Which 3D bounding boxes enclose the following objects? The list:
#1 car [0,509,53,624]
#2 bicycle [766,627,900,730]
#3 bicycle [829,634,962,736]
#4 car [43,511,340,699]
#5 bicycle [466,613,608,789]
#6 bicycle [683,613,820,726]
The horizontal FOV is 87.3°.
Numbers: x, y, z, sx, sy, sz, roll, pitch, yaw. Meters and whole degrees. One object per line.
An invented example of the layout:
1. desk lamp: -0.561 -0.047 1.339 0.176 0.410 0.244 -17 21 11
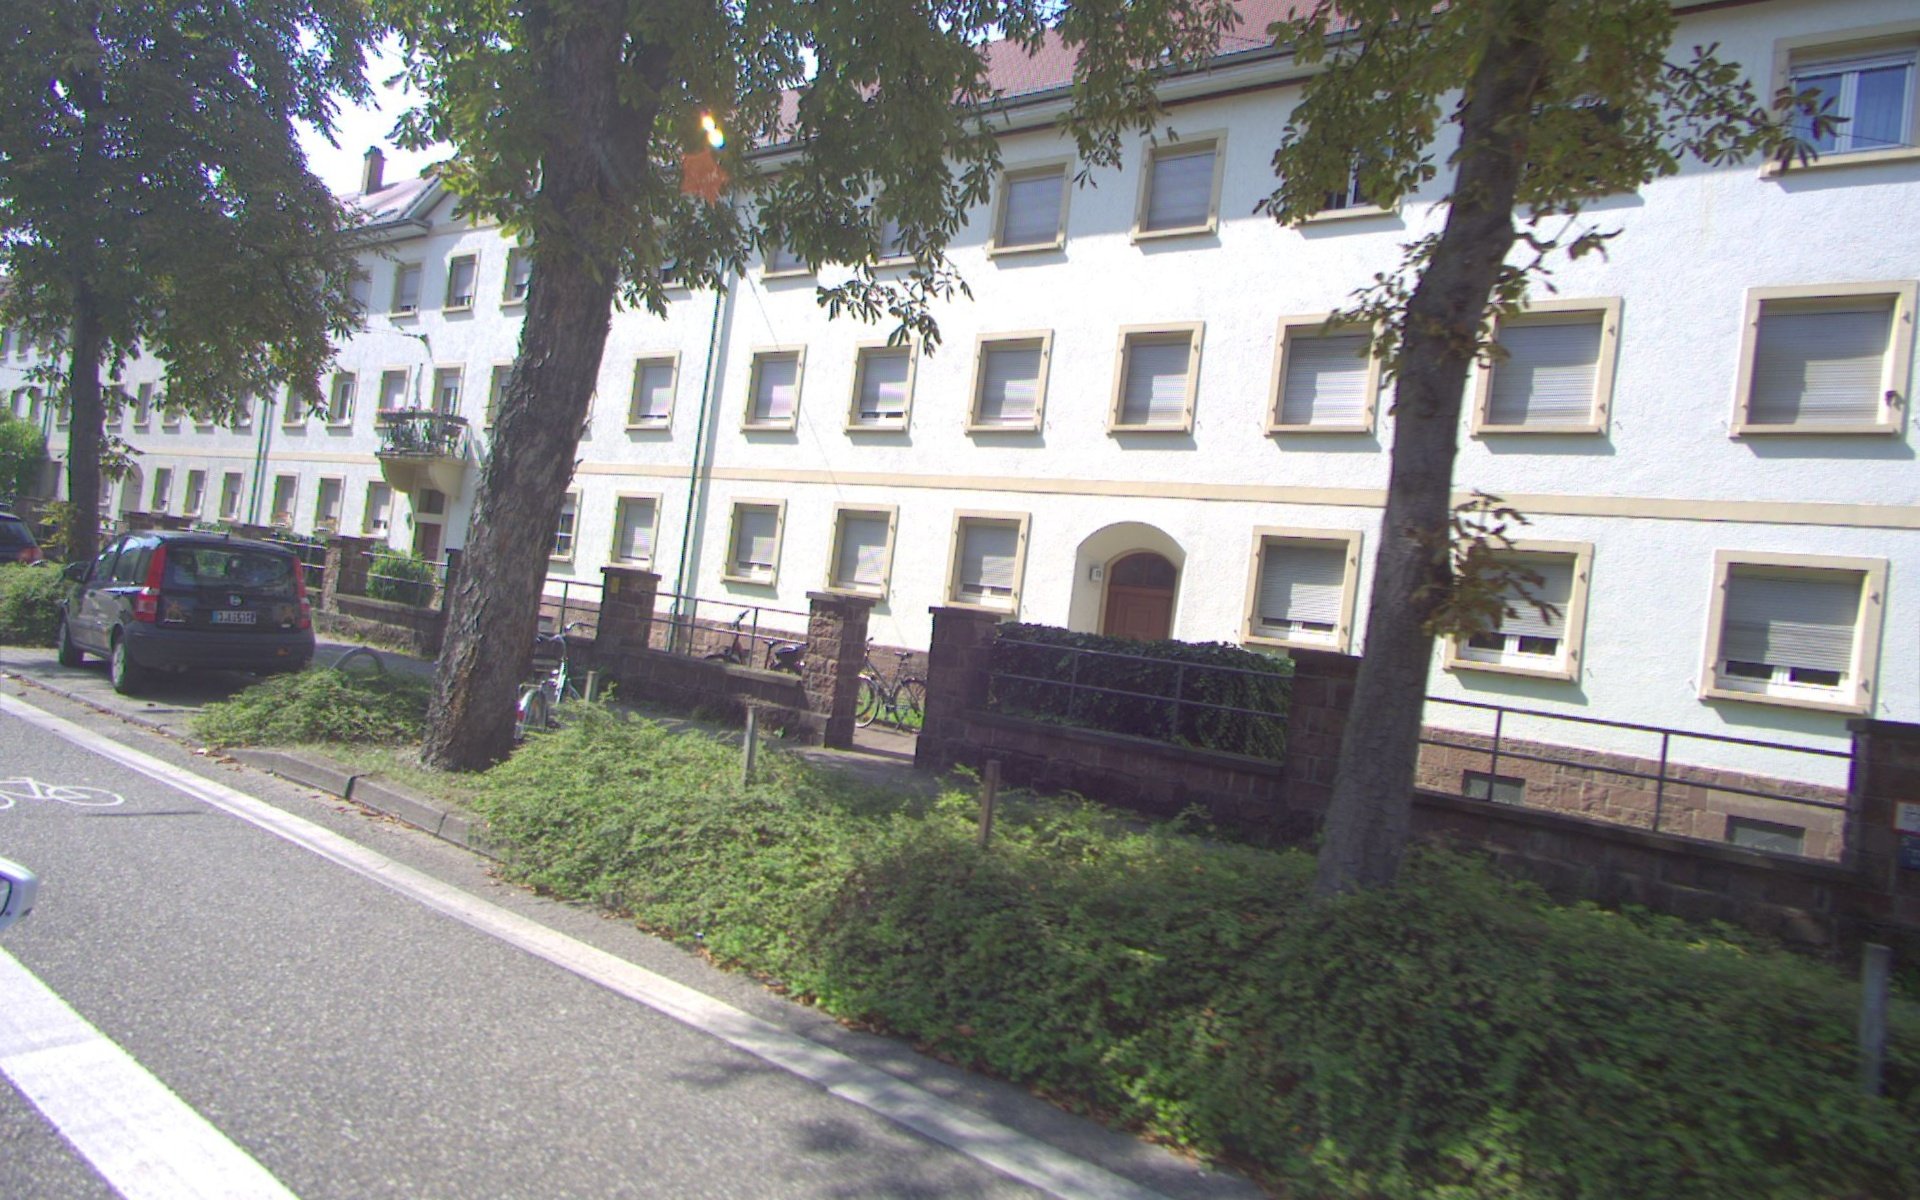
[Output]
1. car: -14.805 -0.669 14.407 3.973 1.495 1.619 7 0 33
2. bicycle: -1.678 1.012 13.166 1.689 1.106 0.469 7 -1 31
3. bicycle: -0.880 1.124 13.465 1.689 1.106 0.469 7 -1 31
4. car: -8.171 0.009 10.605 3.448 1.548 1.616 6 -1 39
5. bicycle: -3.040 0.686 7.351 0.382 1.121 1.392 7 -2 -3
6. bicycle: -2.620 0.849 12.575 1.689 1.174 0.469 7 -1 31
